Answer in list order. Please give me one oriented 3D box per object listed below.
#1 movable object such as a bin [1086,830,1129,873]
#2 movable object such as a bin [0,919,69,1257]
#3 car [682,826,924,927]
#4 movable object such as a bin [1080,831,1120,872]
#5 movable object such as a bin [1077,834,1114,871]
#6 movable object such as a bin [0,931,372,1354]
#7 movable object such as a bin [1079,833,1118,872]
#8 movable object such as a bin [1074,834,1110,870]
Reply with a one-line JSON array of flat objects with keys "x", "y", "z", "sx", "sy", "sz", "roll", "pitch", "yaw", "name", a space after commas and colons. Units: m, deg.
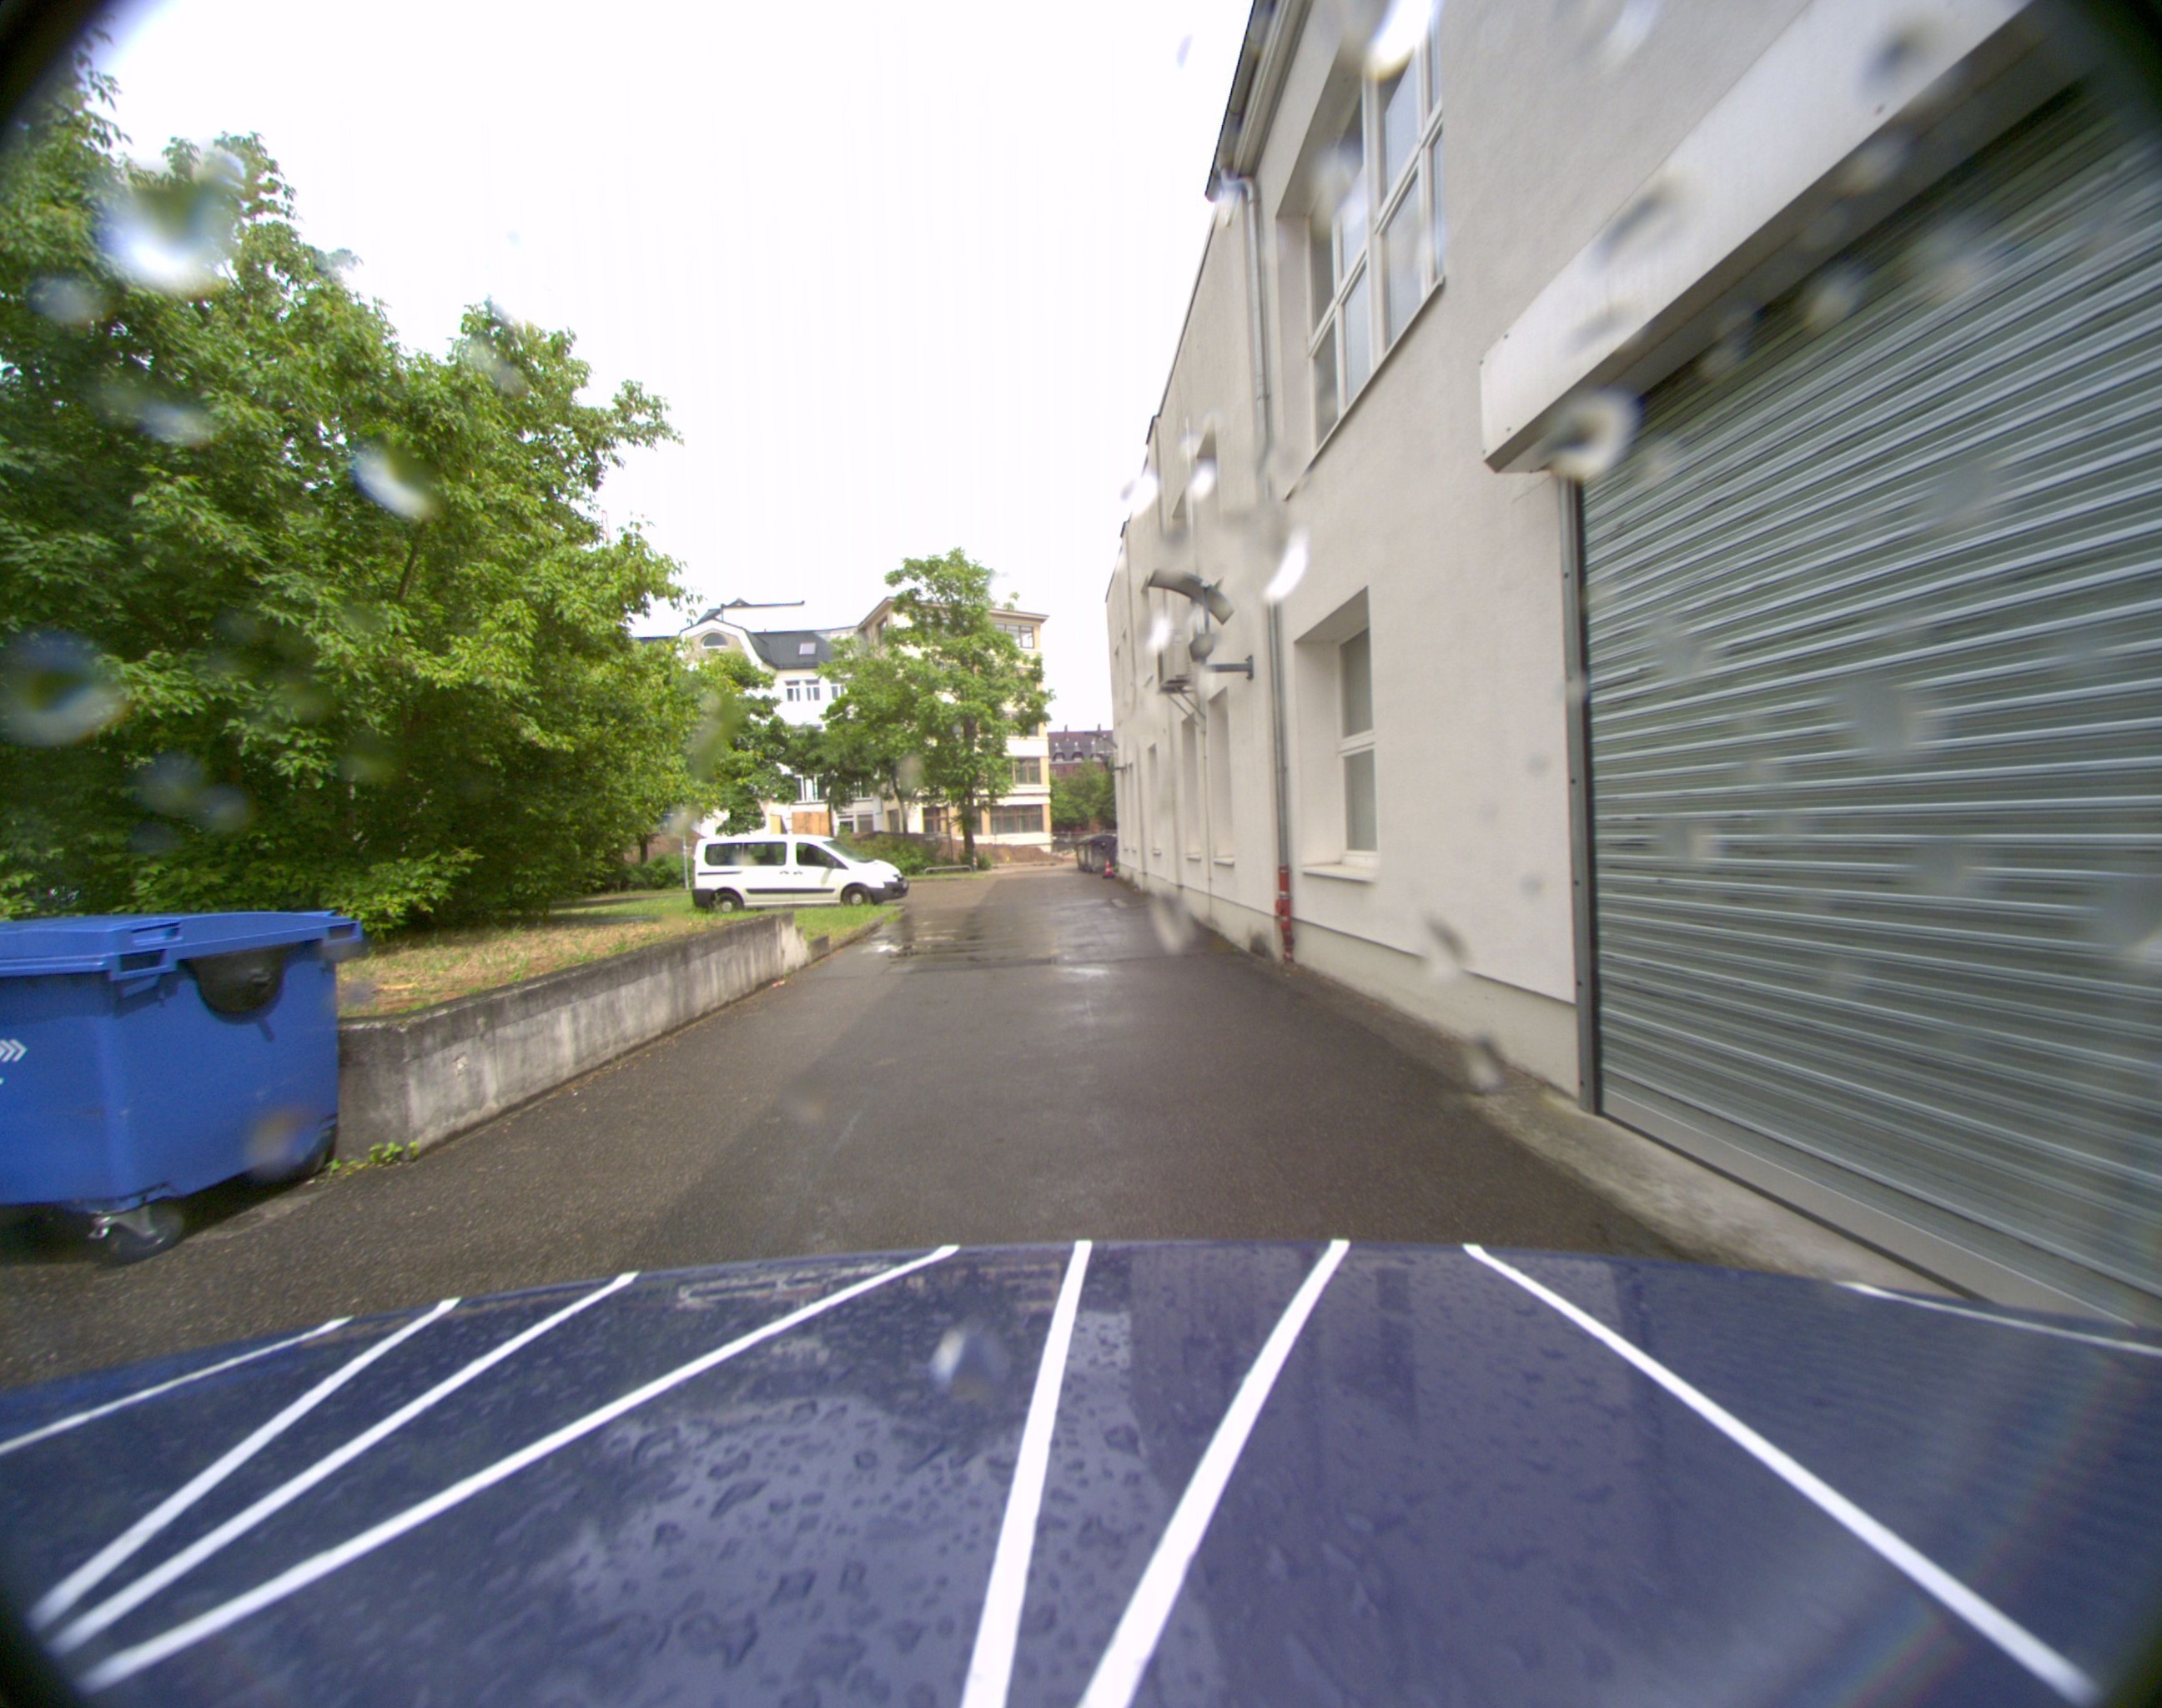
[{"x": 0.968, "y": -0.092, "z": 28.069, "sx": 1.363, "sy": 1.462, "sz": 1.365, "roll": -5, "pitch": 1, "yaw": -3, "name": "movable object such as a bin"}, {"x": -5.443, "y": 1.097, "z": 2.981, "sx": 1.278, "sy": 1.475, "sz": 1.101, "roll": -5, "pitch": 1, "yaw": -4, "name": "movable object such as a bin"}, {"x": -6.563, "y": 0.476, "z": 18.385, "sx": 4.949, "sy": 2.002, "sz": 1.999, "roll": -4, "pitch": 2, "yaw": 0, "name": "car"}, {"x": 0.735, "y": -0.101, "z": 29.780, "sx": 1.363, "sy": 1.462, "sz": 1.365, "roll": -5, "pitch": 1, "yaw": -3, "name": "movable object such as a bin"}, {"x": 0.608, "y": -0.070, "z": 32.628, "sx": 1.363, "sy": 1.462, "sz": 1.464, "roll": -5, "pitch": 1, "yaw": -3, "name": "movable object such as a bin"}, {"x": -4.039, "y": 1.075, "z": 3.097, "sx": 1.177, "sy": 1.310, "sz": 1.055, "roll": -5, "pitch": 1, "yaw": -4, "name": "movable object such as a bin"}, {"x": 0.694, "y": -0.050, "z": 31.176, "sx": 1.363, "sy": 1.462, "sz": 1.351, "roll": -5, "pitch": 1, "yaw": -3, "name": "movable object such as a bin"}, {"x": 0.488, "y": -0.097, "z": 34.331, "sx": 1.413, "sy": 1.462, "sz": 1.560, "roll": -5, "pitch": 1, "yaw": -3, "name": "movable object such as a bin"}]
